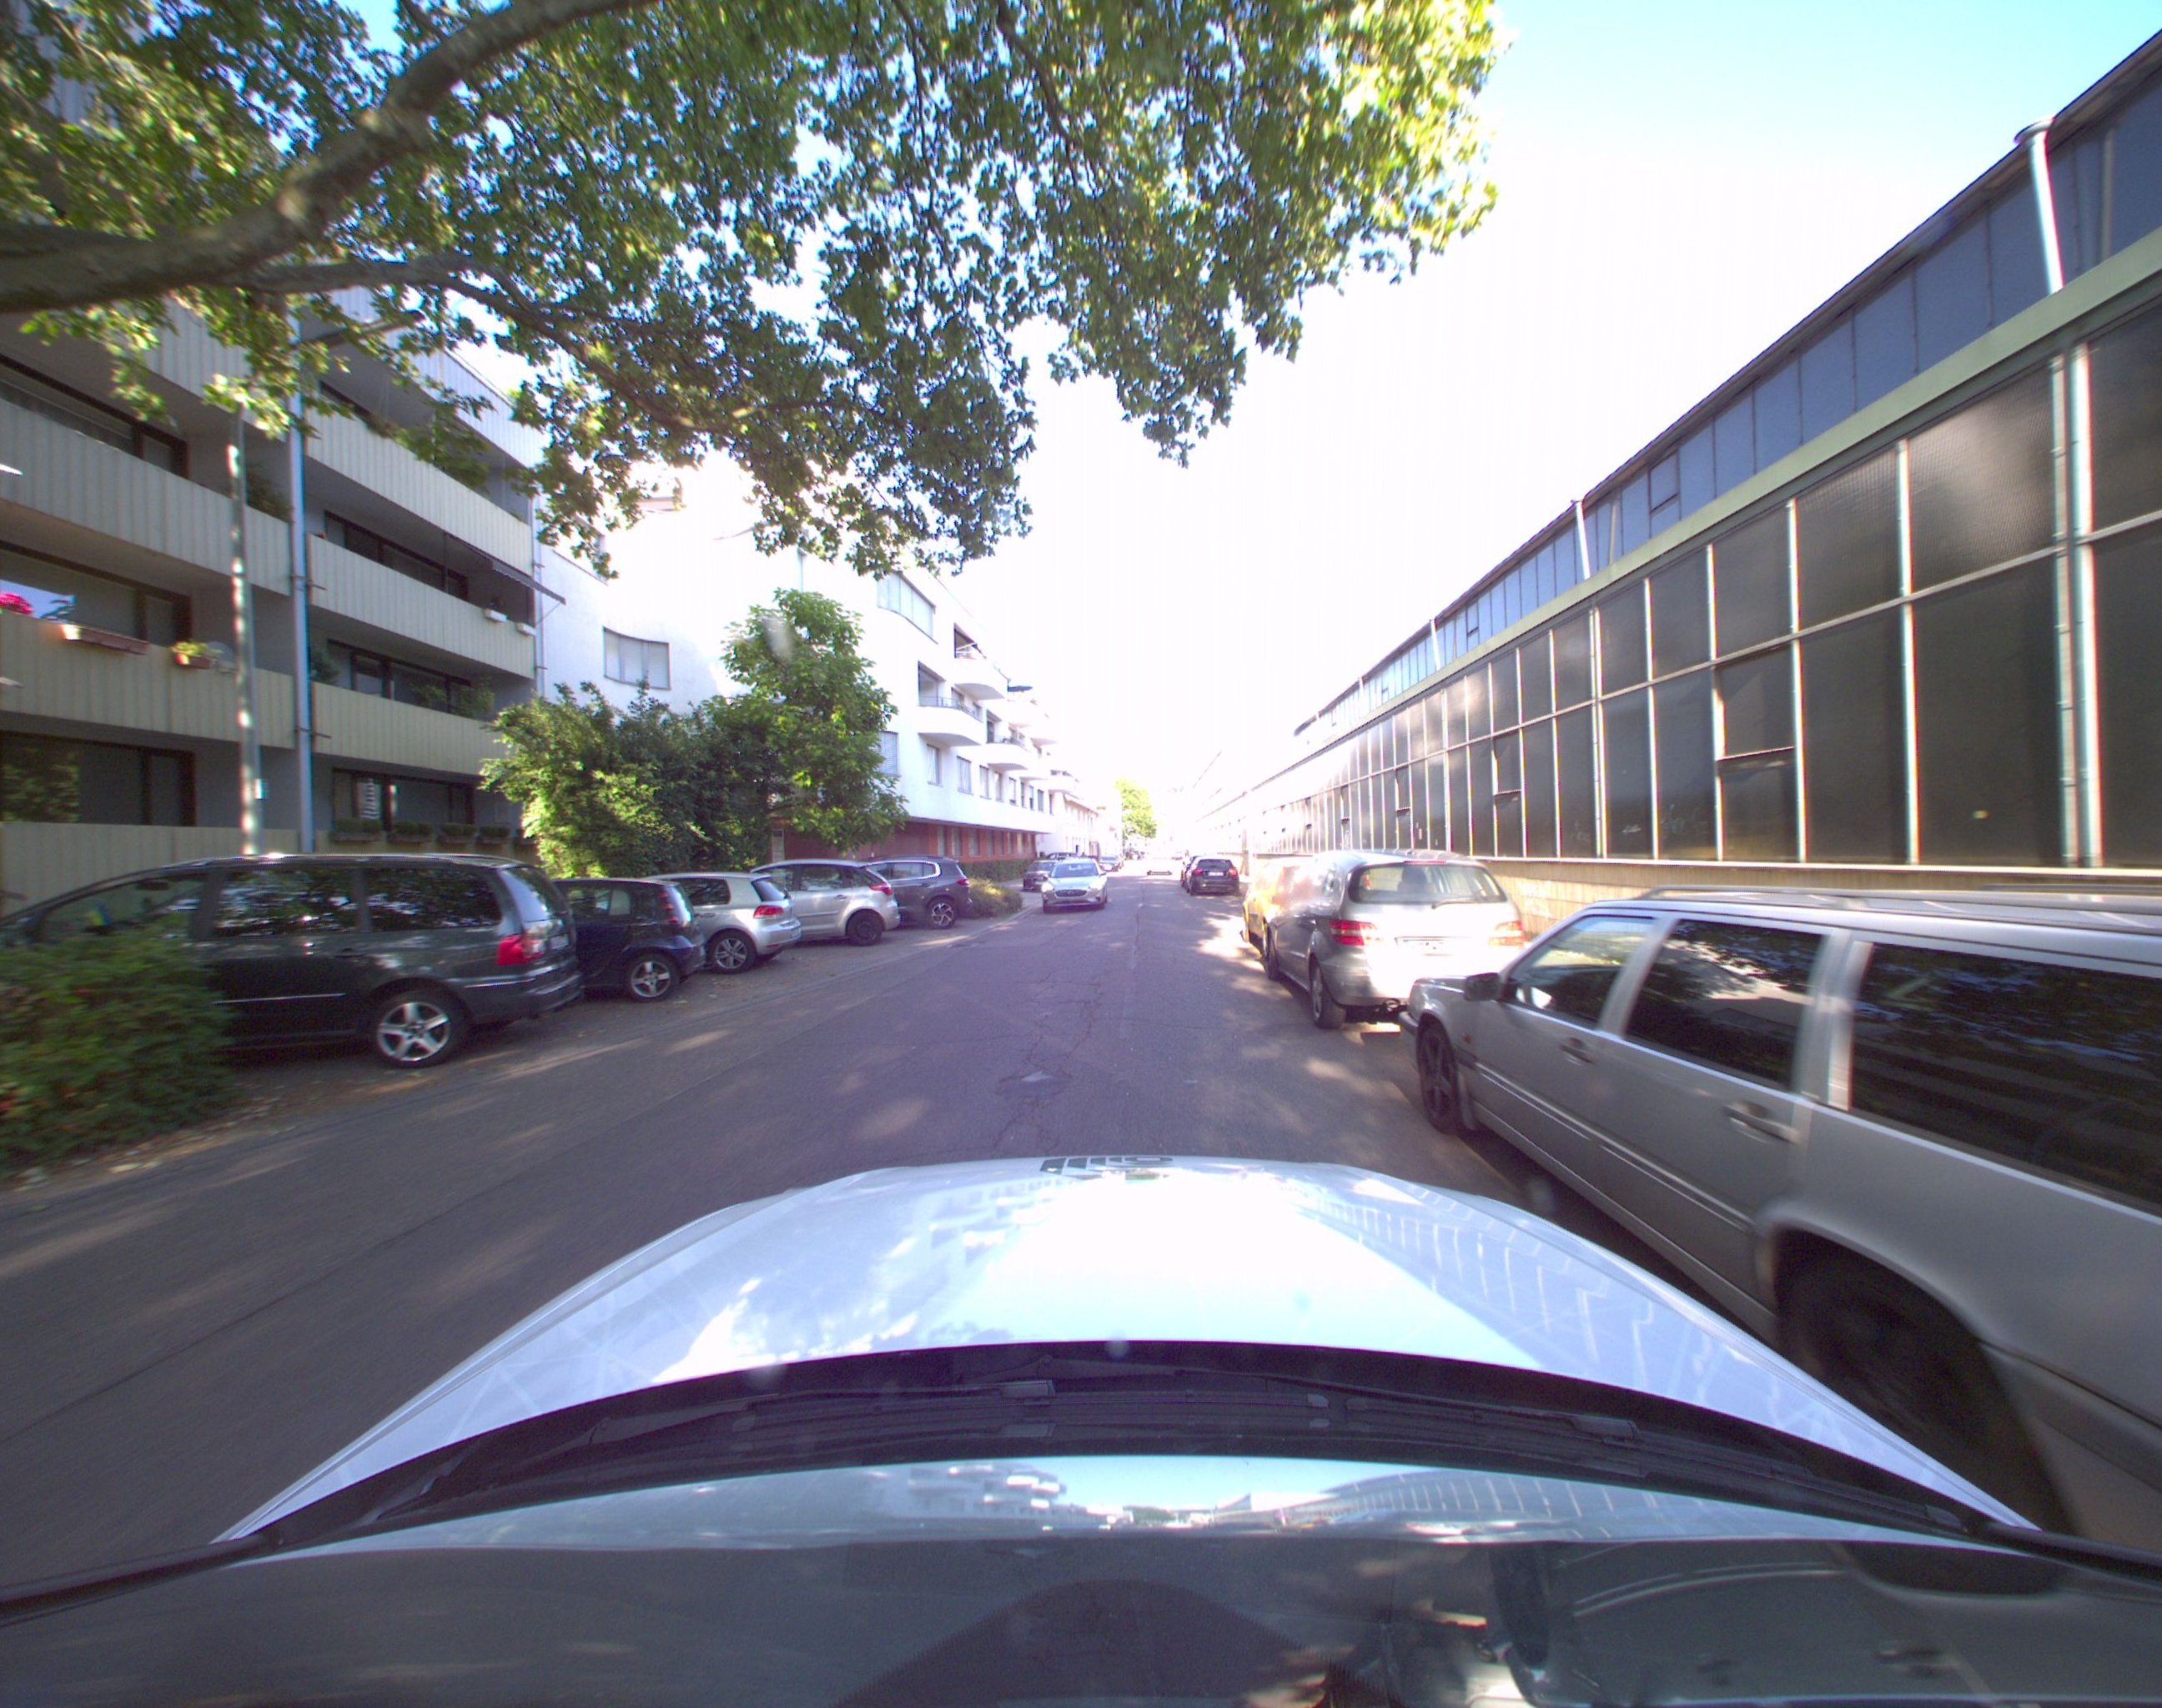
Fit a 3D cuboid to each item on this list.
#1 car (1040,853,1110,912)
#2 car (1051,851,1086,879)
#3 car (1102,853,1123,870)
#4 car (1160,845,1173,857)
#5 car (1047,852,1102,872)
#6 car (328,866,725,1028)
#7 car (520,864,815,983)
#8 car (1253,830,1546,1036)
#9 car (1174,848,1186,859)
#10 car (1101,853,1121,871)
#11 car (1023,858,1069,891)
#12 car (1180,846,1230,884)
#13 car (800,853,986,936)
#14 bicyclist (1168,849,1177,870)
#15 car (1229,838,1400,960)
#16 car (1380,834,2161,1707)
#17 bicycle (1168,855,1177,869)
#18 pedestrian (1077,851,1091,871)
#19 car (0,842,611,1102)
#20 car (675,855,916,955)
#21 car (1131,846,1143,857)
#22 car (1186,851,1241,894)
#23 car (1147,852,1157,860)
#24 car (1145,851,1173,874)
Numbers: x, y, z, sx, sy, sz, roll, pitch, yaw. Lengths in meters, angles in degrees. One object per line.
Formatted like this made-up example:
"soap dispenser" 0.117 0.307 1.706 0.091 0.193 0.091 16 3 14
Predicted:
"car" -0.095 0.801 25.171 1.892 1.536 4.623 -3 0 2
"car" -0.704 0.621 49.558 1.850 1.587 4.624 -1 0 2
"car" 3.208 0.733 82.358 1.848 1.587 4.344 -1 1 6
"car" 13.590 -0.470 129.162 1.845 1.791 4.612 -2 0 4
"car" -0.482 0.620 65.985 4.302 1.535 1.691 -1 0 3
"car" -6.412 0.990 9.930 3.651 1.560 1.688 -2 0 -21
"car" -6.193 0.989 12.568 3.634 1.560 1.696 -2 0 -7
"car" 3.033 0.653 8.781 1.742 1.635 4.315 -2 0 5
"car" 15.509 -0.101 127.735 1.622 1.587 4.075 -5 0 5
"car" 2.615 0.695 71.448 1.678 1.535 4.337 -1 0 2
"car" -1.573 0.905 37.675 1.667 1.433 3.775 -1 0 4
"car" 5.479 0.474 36.351 1.799 1.587 4.409 -1 0 3
"car" -4.362 0.869 18.900 3.964 1.662 1.687 -2 0 -23
"bicyclist" 7.885 0.474 70.194 0.694 1.790 1.043 -2 0 7
"car" 3.588 0.623 13.254 1.743 1.635 4.004 -2 0 2
"car" 2.771 0.707 2.892 1.892 1.493 4.532 -2 0 2
"bicycle" 7.914 0.685 70.318 0.694 1.130 2.407 -2 0 7
"pedestrian" 0.293 0.635 74.921 0.853 1.818 1.139 1 1 29
"car" -6.779 0.852 7.127 4.268 1.775 1.894 -2 0 -19
"car" -5.426 0.905 15.782 4.140 1.640 1.765 -2 0 -20
"car" 10.057 -0.495 145.516 1.843 1.791 4.617 -2 0 7
"car" 4.969 0.650 31.101 1.742 1.491 4.628 -1 0 5
"car" 12.528 0.350 143.770 1.833 1.491 4.150 -2 0 5
"car" 5.418 0.599 56.605 1.833 1.491 4.150 -2 0 5
